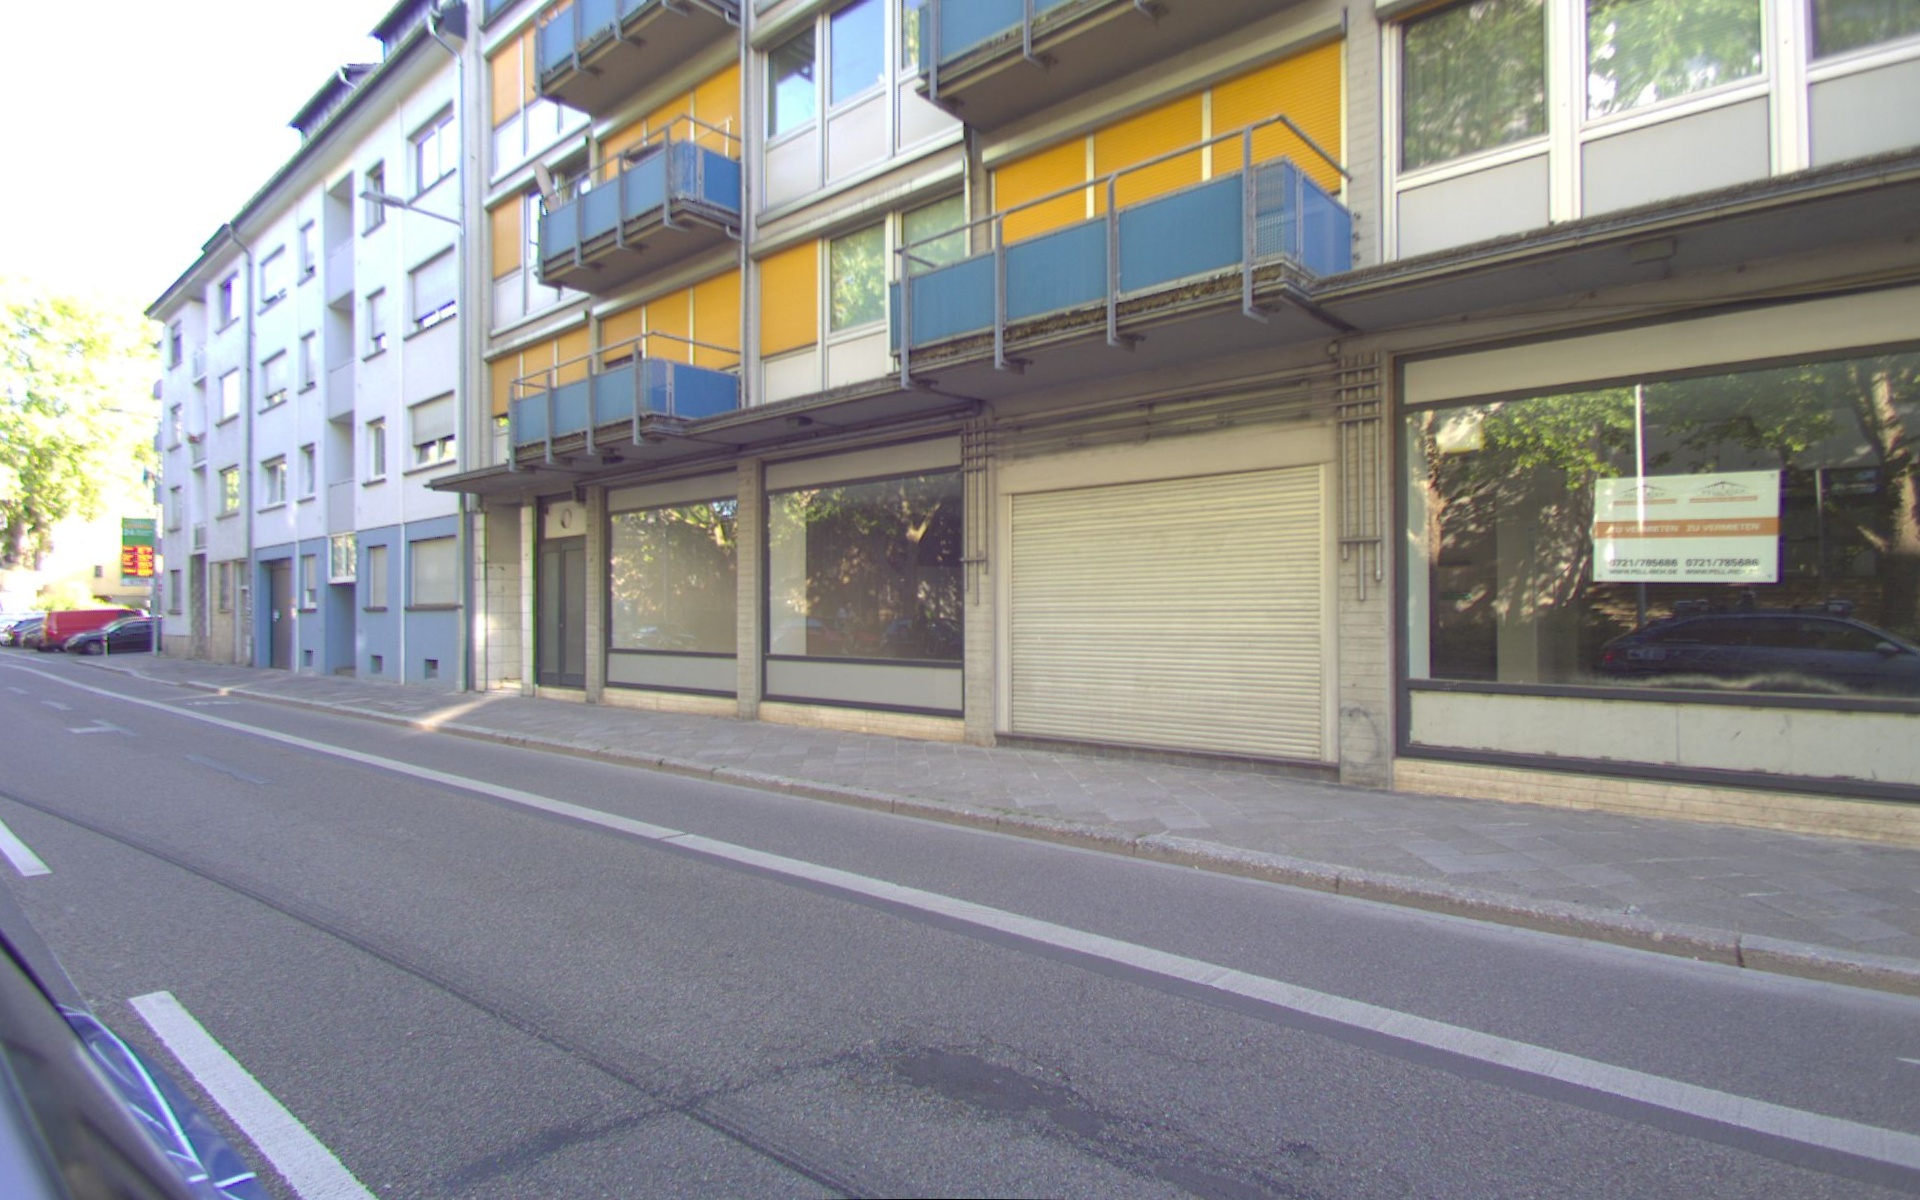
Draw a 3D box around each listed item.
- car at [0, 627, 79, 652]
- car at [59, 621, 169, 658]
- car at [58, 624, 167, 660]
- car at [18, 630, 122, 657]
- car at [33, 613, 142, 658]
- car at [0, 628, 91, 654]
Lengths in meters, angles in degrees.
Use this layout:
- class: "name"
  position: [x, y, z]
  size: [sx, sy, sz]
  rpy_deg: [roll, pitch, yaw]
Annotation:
- class: "car"
  position: [-52.254, 2.241, 57.506]
  size: [1.345, 1.254, 3.228]
  rpy_deg: [-1, 0, 43]
- class: "car"
  position: [-38.187, 1.760, 45.724]
  size: [1.490, 1.523, 3.638]
  rpy_deg: [-1, 0, 43]
- class: "car"
  position: [-36.671, 1.803, 43.844]
  size: [1.490, 1.398, 3.462]
  rpy_deg: [-1, 0, 43]
- class: "car"
  position: [-42.808, 2.066, 48.739]
  size: [1.345, 1.137, 3.638]
  rpy_deg: [-1, 0, 43]
- class: "car"
  position: [-40.646, 1.640, 47.224]
  size: [1.488, 1.923, 3.642]
  rpy_deg: [-4, -2, 39]
- class: "car"
  position: [-50.440, 2.234, 55.876]
  size: [1.345, 1.254, 3.638]
  rpy_deg: [-1, 0, 43]
